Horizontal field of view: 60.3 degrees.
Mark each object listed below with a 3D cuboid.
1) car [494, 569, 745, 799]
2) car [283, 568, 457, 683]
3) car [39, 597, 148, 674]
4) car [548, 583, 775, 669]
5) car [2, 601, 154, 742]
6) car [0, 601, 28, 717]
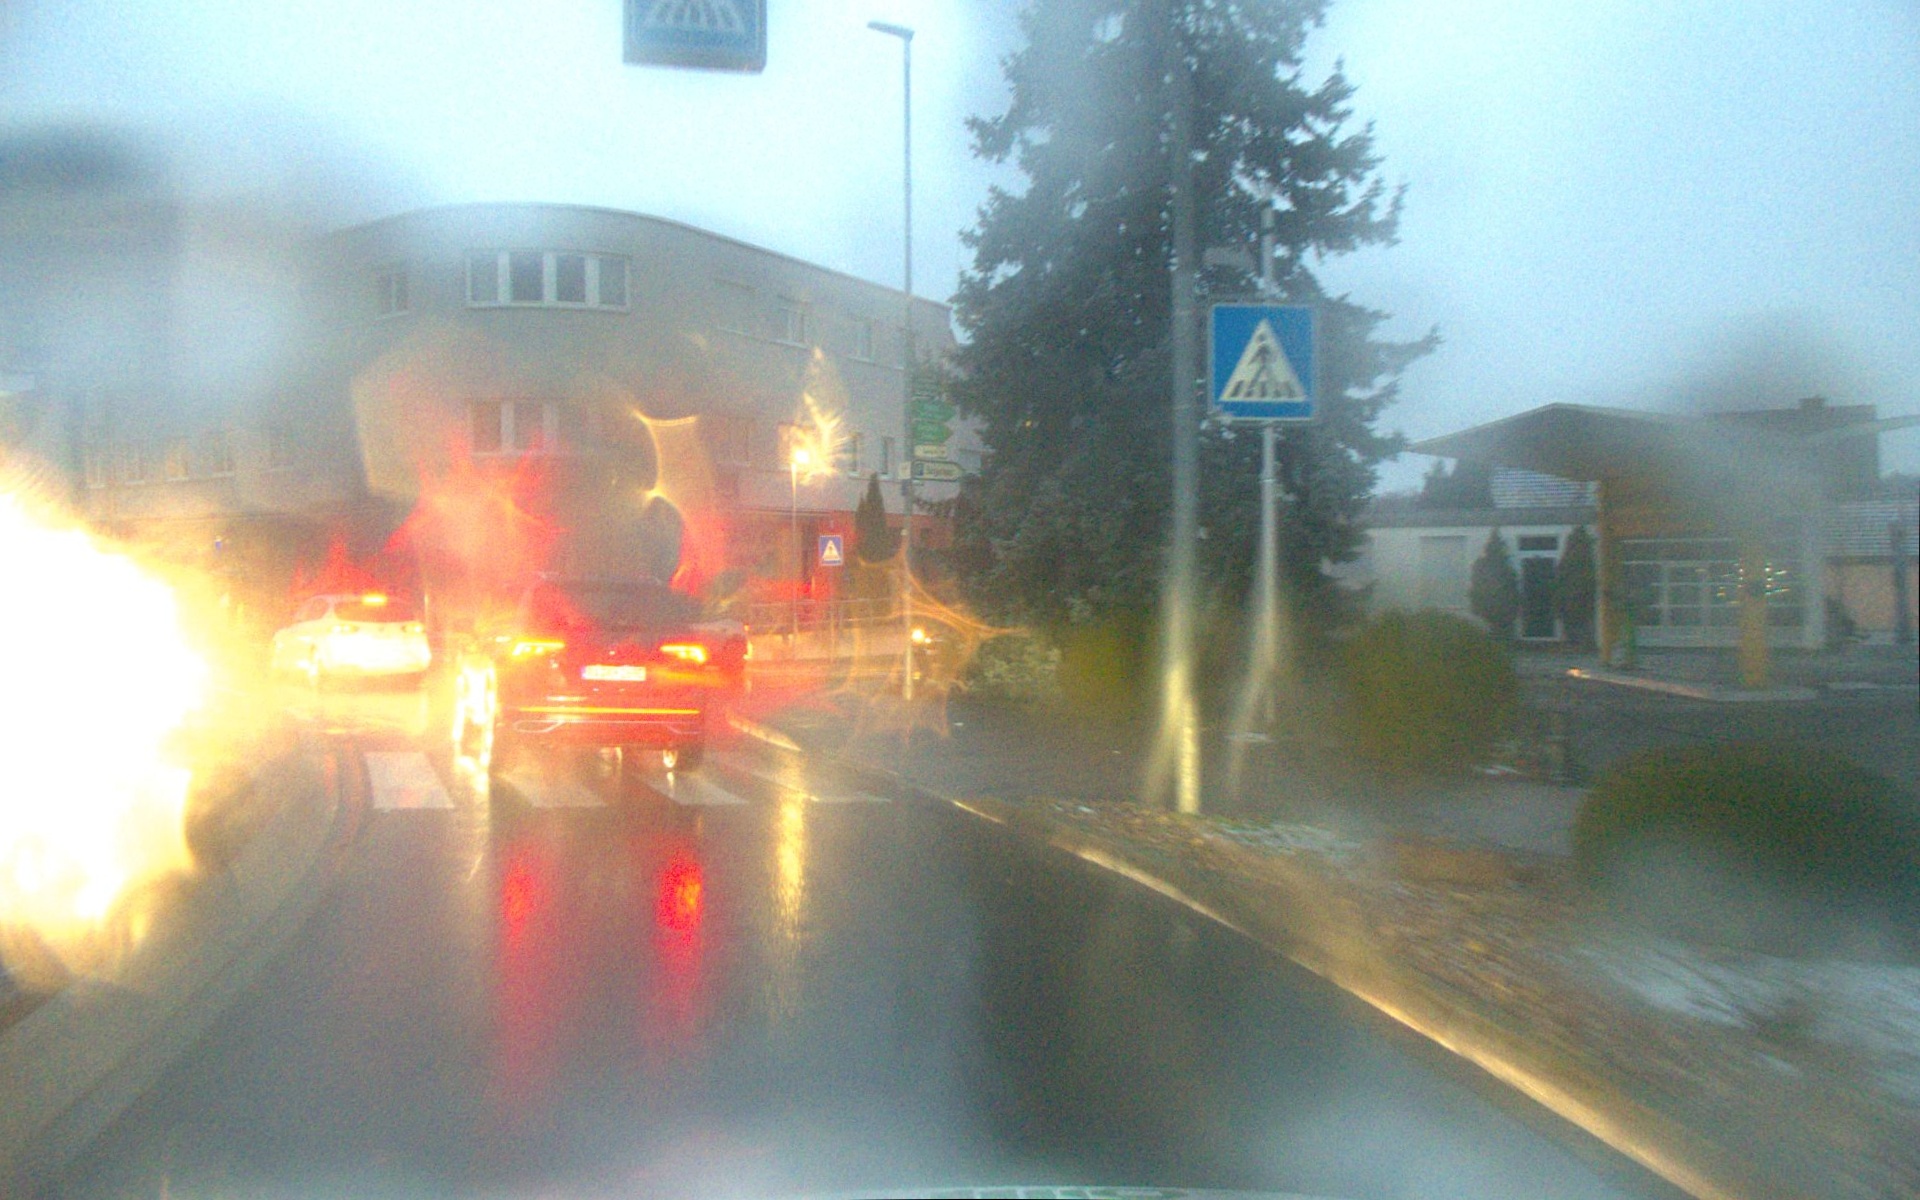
[{"bbox_3d":[-3.112,0.607,14.860,1.911,1.748,3.986,-1,1,-14],"label":"car"},{"bbox_3d":[-9.909,0.345,27.553,2.139,1.719,4.530,0,1,-28],"label":"car"},{"bbox_3d":[-22.157,0.842,42.208,2.044,1.747,4.519,-1,2,-33],"label":"car"},{"bbox_3d":[-6.014,0.471,33.842,1.871,1.599,4.553,1,1,36],"label":"car"},{"bbox_3d":[-15.335,1.135,28.694,2.140,2.096,4.526,-1,1,-30],"label":"car"},{"bbox_3d":[-19.874,1.134,32.979,2.139,2.096,4.528,-1,1,-28],"label":"car"}]
